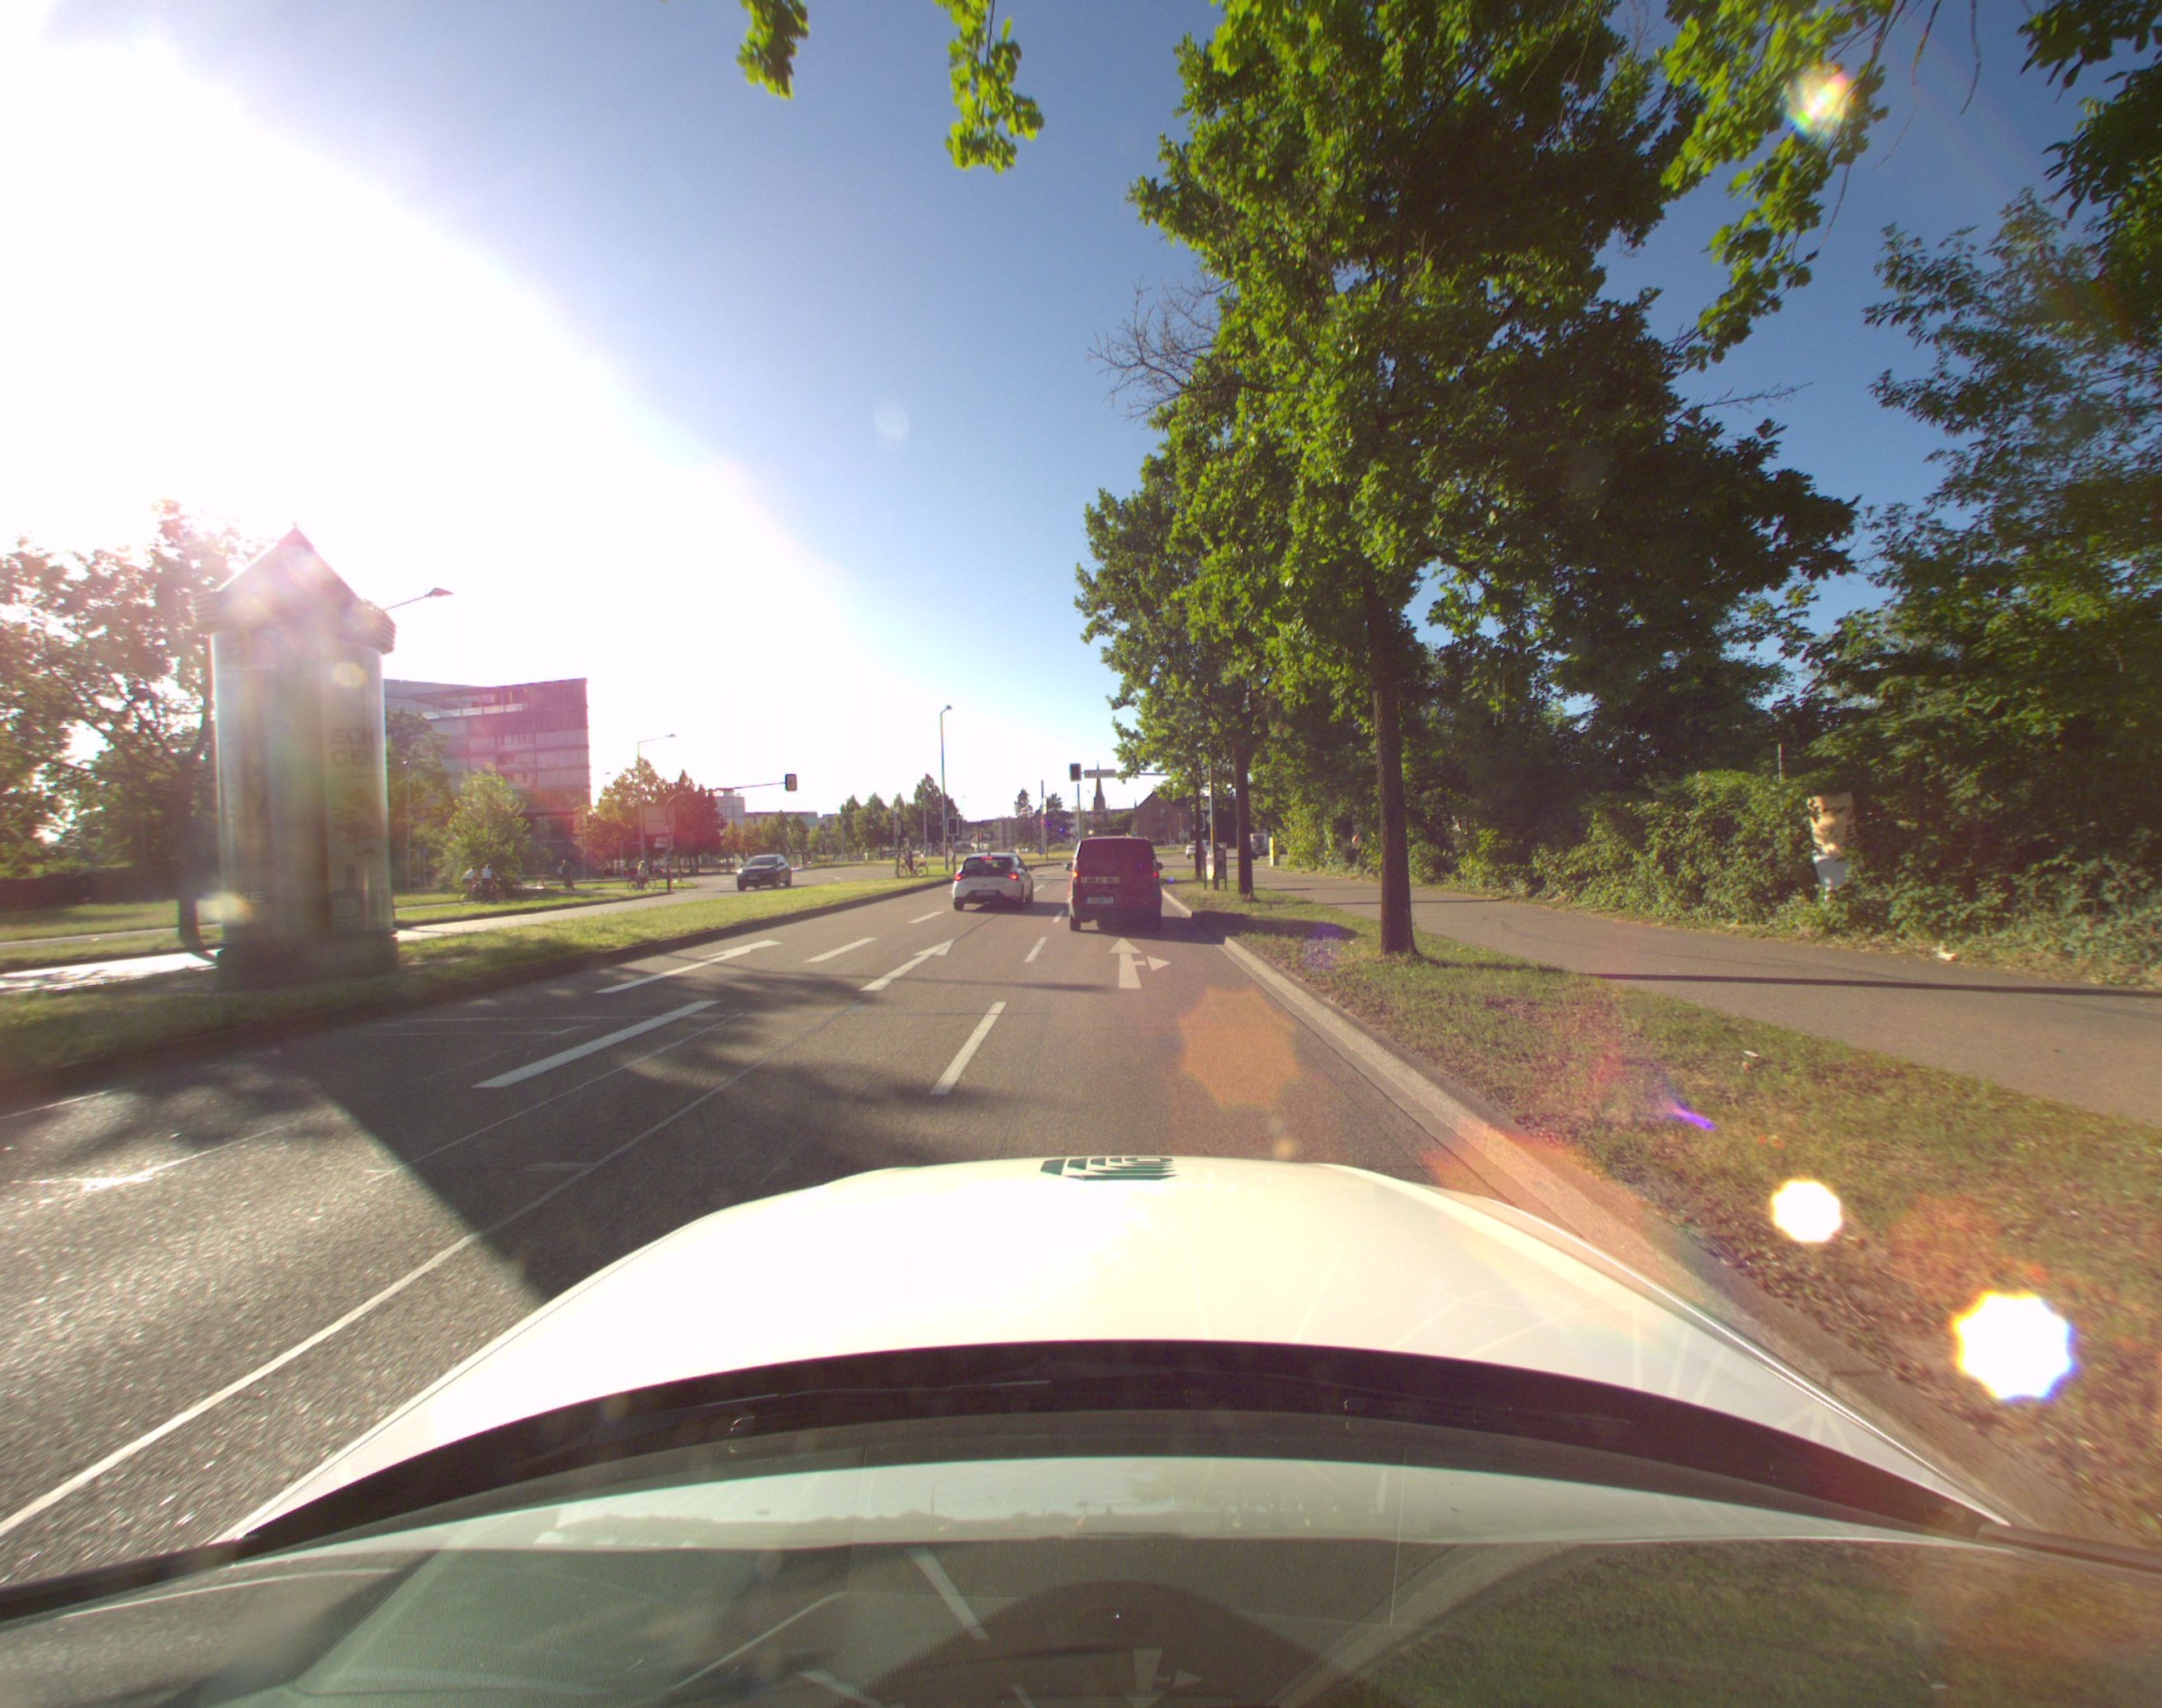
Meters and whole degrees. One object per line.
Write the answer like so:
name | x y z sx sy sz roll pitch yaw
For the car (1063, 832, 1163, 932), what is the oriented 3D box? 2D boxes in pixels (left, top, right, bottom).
car | 0.686 0.496 16.702 1.795 1.813 3.813 0 0 3

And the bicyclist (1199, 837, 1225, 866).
bicyclist | 7.381 -0.115 45.983 1.088 1.562 0.870 -3 -1 -21

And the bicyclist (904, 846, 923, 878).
bicyclist | -8.983 0.417 43.724 0.939 1.663 0.702 -1 -1 -8

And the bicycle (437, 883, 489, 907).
bicycle | -26.520 1.746 34.984 0.612 0.852 1.893 -2 1 8

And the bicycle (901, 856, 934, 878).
bicycle | -8.780 0.681 43.760 1.649 1.128 0.702 -2 -1 -8

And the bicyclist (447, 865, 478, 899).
bicyclist | -26.547 1.181 34.974 0.612 1.392 0.839 -2 1 7

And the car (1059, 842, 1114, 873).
car | 0.373 0.141 46.440 1.979 1.575 4.426 -2 1 15

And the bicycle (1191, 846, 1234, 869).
bicycle | 7.418 0.214 45.993 2.218 1.155 0.870 -3 -1 -22

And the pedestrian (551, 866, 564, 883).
pedestrian | -51.781 1.990 80.508 0.885 1.629 0.756 -2 1 -20

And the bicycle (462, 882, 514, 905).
bicycle | -25.345 1.688 34.844 0.612 0.852 1.893 -2 1 8

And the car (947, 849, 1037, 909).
car | -2.296 0.602 21.900 1.795 1.461 3.812 0 0 3

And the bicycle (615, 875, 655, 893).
bicycle | -24.114 1.619 44.011 1.872 0.852 0.619 -2 1 8

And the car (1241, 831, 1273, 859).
car | 12.848 -0.623 59.722 1.985 1.897 4.764 -2 0 8

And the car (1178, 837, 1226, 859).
car | 9.788 -0.506 65.457 1.974 1.639 4.437 -2 1 35

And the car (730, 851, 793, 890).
car | -16.118 0.799 41.291 1.994 1.739 4.722 -2 0 -10

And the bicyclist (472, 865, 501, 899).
bicyclist | -25.359 1.169 34.767 0.612 1.392 0.721 -2 1 7

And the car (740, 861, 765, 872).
car | -49.321 1.895 122.131 2.021 1.541 4.272 -2 0 -43

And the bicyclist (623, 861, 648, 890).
bicyclist | -24.079 1.153 44.005 0.917 1.517 0.619 -2 1 8
